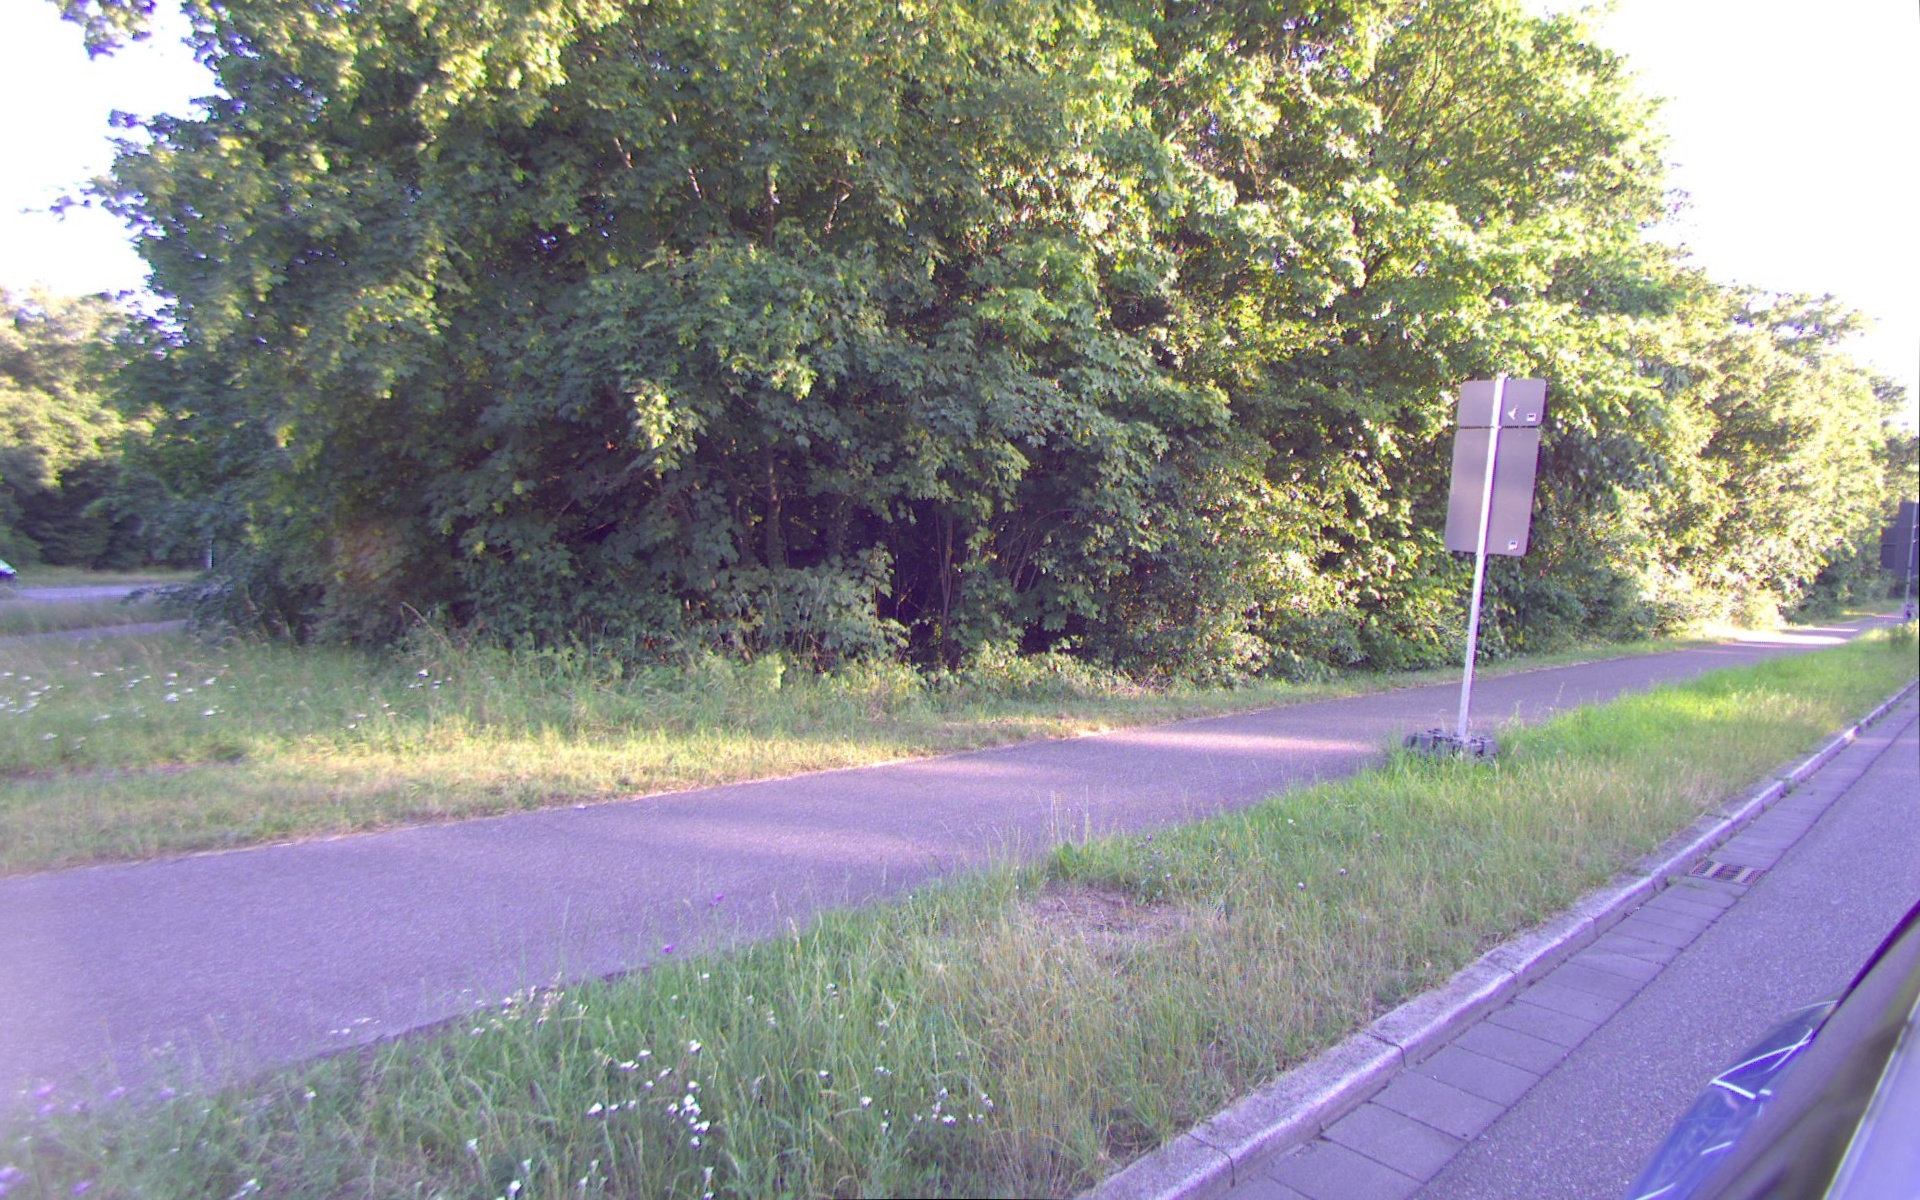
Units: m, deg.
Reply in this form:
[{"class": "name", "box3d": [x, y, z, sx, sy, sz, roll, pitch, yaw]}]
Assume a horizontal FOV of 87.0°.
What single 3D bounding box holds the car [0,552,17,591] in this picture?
[{"class": "car", "box3d": [-37.228, -1.080, 37.588, 1.733, 1.507, 3.884, 0, 1, -18]}]
